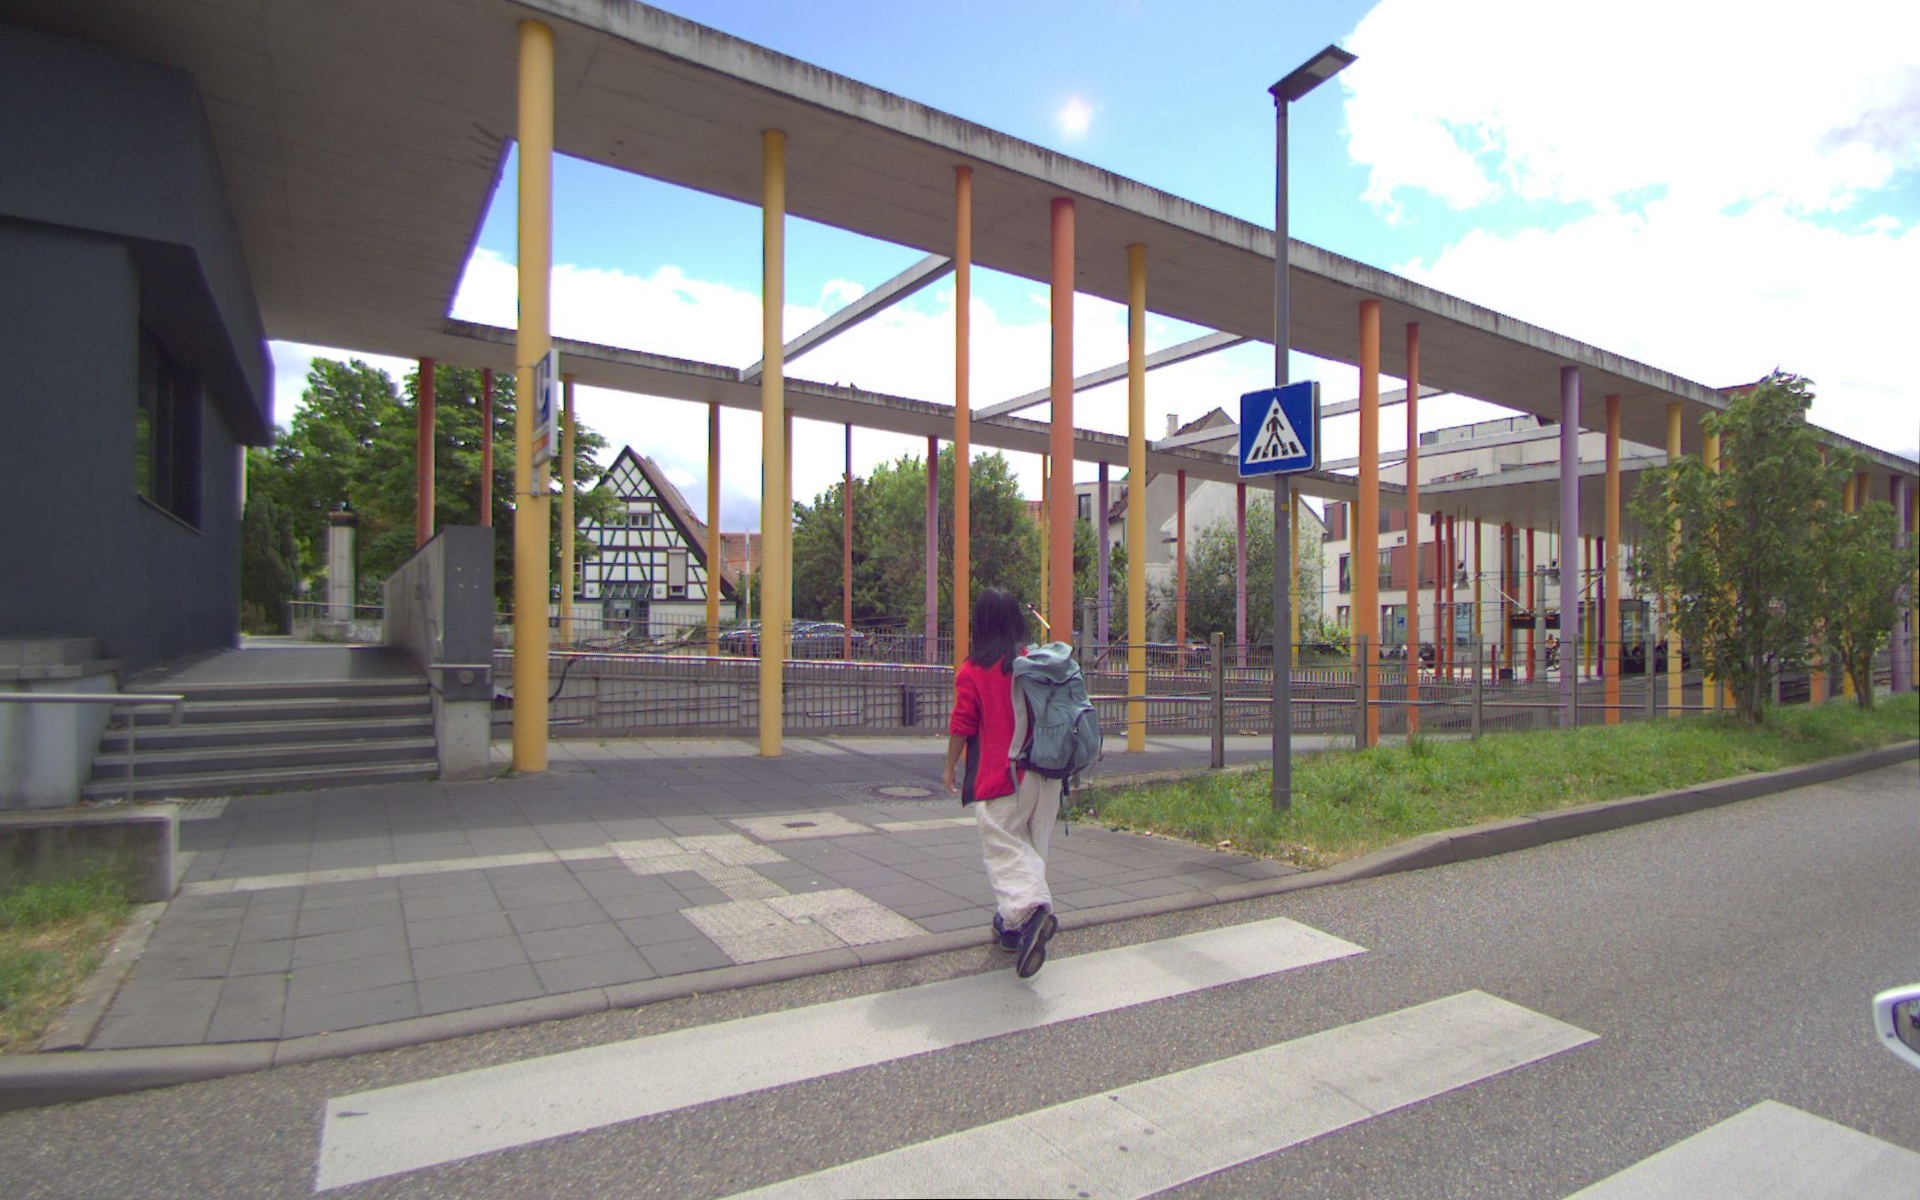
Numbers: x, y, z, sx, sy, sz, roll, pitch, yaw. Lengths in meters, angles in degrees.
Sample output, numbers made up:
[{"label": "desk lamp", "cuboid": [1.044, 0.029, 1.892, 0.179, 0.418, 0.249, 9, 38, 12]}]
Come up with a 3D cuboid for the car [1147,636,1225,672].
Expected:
[{"label": "car", "cuboid": [9.970, 2.382, 44.587, 1.546, 1.355, 3.984, 3, -1, -18]}]

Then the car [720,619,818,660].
[{"label": "car", "cuboid": [-8.391, 1.741, 44.106, 3.941, 1.595, 1.906, 3, -1, -21]}]

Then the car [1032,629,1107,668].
[{"label": "car", "cuboid": [4.481, 1.974, 41.702, 1.546, 1.419, 3.984, 3, -1, -18]}]

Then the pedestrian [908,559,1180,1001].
[{"label": "pedestrian", "cuboid": [0.303, 0.668, 4.165, 0.801, 1.586, 0.927, 3, -1, -15]}]

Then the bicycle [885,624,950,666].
[{"label": "bicycle", "cuboid": [-1.405, 1.483, 33.118, 2.029, 1.286, 0.530, 3, -1, -21]}]

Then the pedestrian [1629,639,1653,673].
[{"label": "pedestrian", "cuboid": [29.826, 2.448, 43.967, 0.694, 1.397, 0.647, 0, 1, -33]}]

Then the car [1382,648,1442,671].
[{"label": "car", "cuboid": [27.912, 3.704, 62.177, 1.618, 1.342, 3.713, 3, -4, -10]}]

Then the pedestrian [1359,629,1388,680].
[{"label": "pedestrian", "cuboid": [15.951, 2.096, 38.755, 0.792, 1.908, 0.638, 3, -1, -34]}]

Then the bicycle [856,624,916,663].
[{"label": "bicycle", "cuboid": [-2.635, 1.562, 35.947, 2.029, 1.286, 0.530, 3, -1, -21]}]

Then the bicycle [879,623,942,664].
[{"label": "bicycle", "cuboid": [-1.662, 1.475, 33.766, 2.029, 1.286, 0.530, 3, -1, -21]}]

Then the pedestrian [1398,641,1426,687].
[{"label": "pedestrian", "cuboid": [17.012, 2.402, 37.804, 0.723, 1.683, 0.638, 3, -1, -34]}]

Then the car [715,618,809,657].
[{"label": "car", "cuboid": [-9.121, 1.728, 46.196, 3.941, 1.595, 1.906, 3, -1, -21]}]

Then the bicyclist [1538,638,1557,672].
[{"label": "bicyclist", "cuboid": [28.038, 2.618, 47.931, 0.674, 1.614, 0.481, 3, -1, -31]}]

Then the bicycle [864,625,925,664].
[{"label": "bicycle", "cuboid": [-2.297, 1.564, 35.376, 2.029, 1.286, 0.530, 3, -1, -21]}]

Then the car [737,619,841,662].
[{"label": "car", "cuboid": [-7.151, 1.688, 41.887, 3.941, 1.595, 1.906, 3, -1, -21]}]

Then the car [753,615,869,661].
[{"label": "car", "cuboid": [-5.944, 1.501, 39.932, 4.204, 1.595, 1.906, 3, -1, -21]}]

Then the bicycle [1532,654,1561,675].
[{"label": "bicycle", "cuboid": [27.979, 3.070, 47.888, 1.595, 0.975, 0.481, 3, -1, -31]}]

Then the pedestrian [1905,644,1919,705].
[{"label": "pedestrian", "cuboid": [29.781, 2.306, 31.083, 0.702, 1.854, 0.583, 3, -1, -32]}]
